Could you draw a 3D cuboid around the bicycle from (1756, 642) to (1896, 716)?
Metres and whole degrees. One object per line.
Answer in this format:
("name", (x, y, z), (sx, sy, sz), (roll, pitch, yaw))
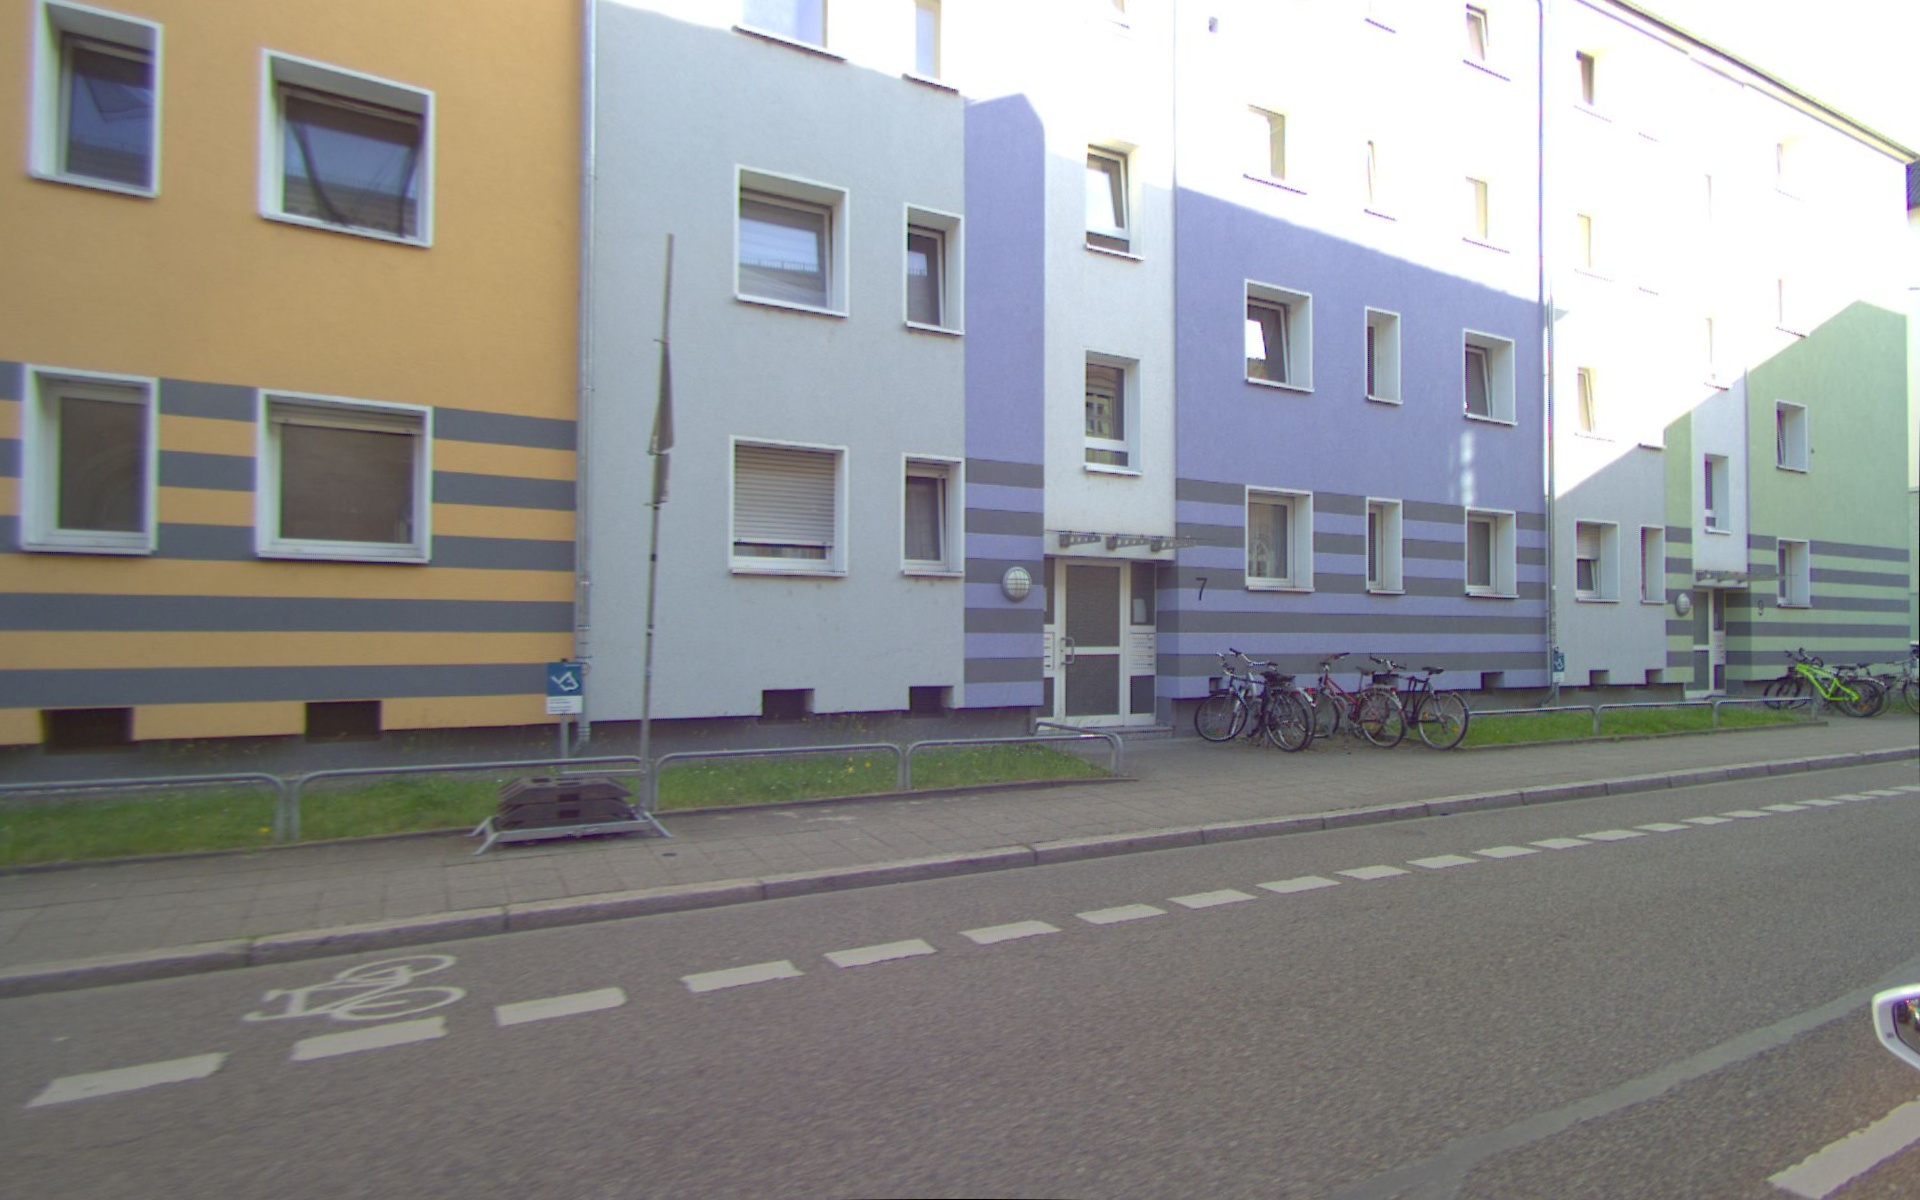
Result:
("bicycle", (16.195, 1.449, 18.826), (0.609, 1.195, 1.910), (2, 1, -43))

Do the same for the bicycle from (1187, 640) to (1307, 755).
("bicycle", (3.414, 1.125, 12.068), (0.380, 1.258, 1.572), (1, -2, -30))

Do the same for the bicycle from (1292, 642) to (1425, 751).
("bicycle", (4.978, 1.168, 12.641), (0.461, 1.258, 1.631), (1, -2, -30))

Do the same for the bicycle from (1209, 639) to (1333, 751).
("bicycle", (3.769, 1.117, 12.279), (0.444, 1.258, 1.577), (1, -2, -30))

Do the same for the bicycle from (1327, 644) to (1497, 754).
("bicycle", (5.698, 1.206, 12.800), (0.615, 1.247, 1.999), (1, -2, -30))

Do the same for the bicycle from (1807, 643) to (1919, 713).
("bicycle", (17.591, 1.476, 19.287), (0.608, 1.195, 1.915), (2, 1, -36))

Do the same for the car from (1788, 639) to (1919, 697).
("car", (24.821, 1.795, 27.037), (1.789, 1.462, 3.489), (1, -2, -26))
